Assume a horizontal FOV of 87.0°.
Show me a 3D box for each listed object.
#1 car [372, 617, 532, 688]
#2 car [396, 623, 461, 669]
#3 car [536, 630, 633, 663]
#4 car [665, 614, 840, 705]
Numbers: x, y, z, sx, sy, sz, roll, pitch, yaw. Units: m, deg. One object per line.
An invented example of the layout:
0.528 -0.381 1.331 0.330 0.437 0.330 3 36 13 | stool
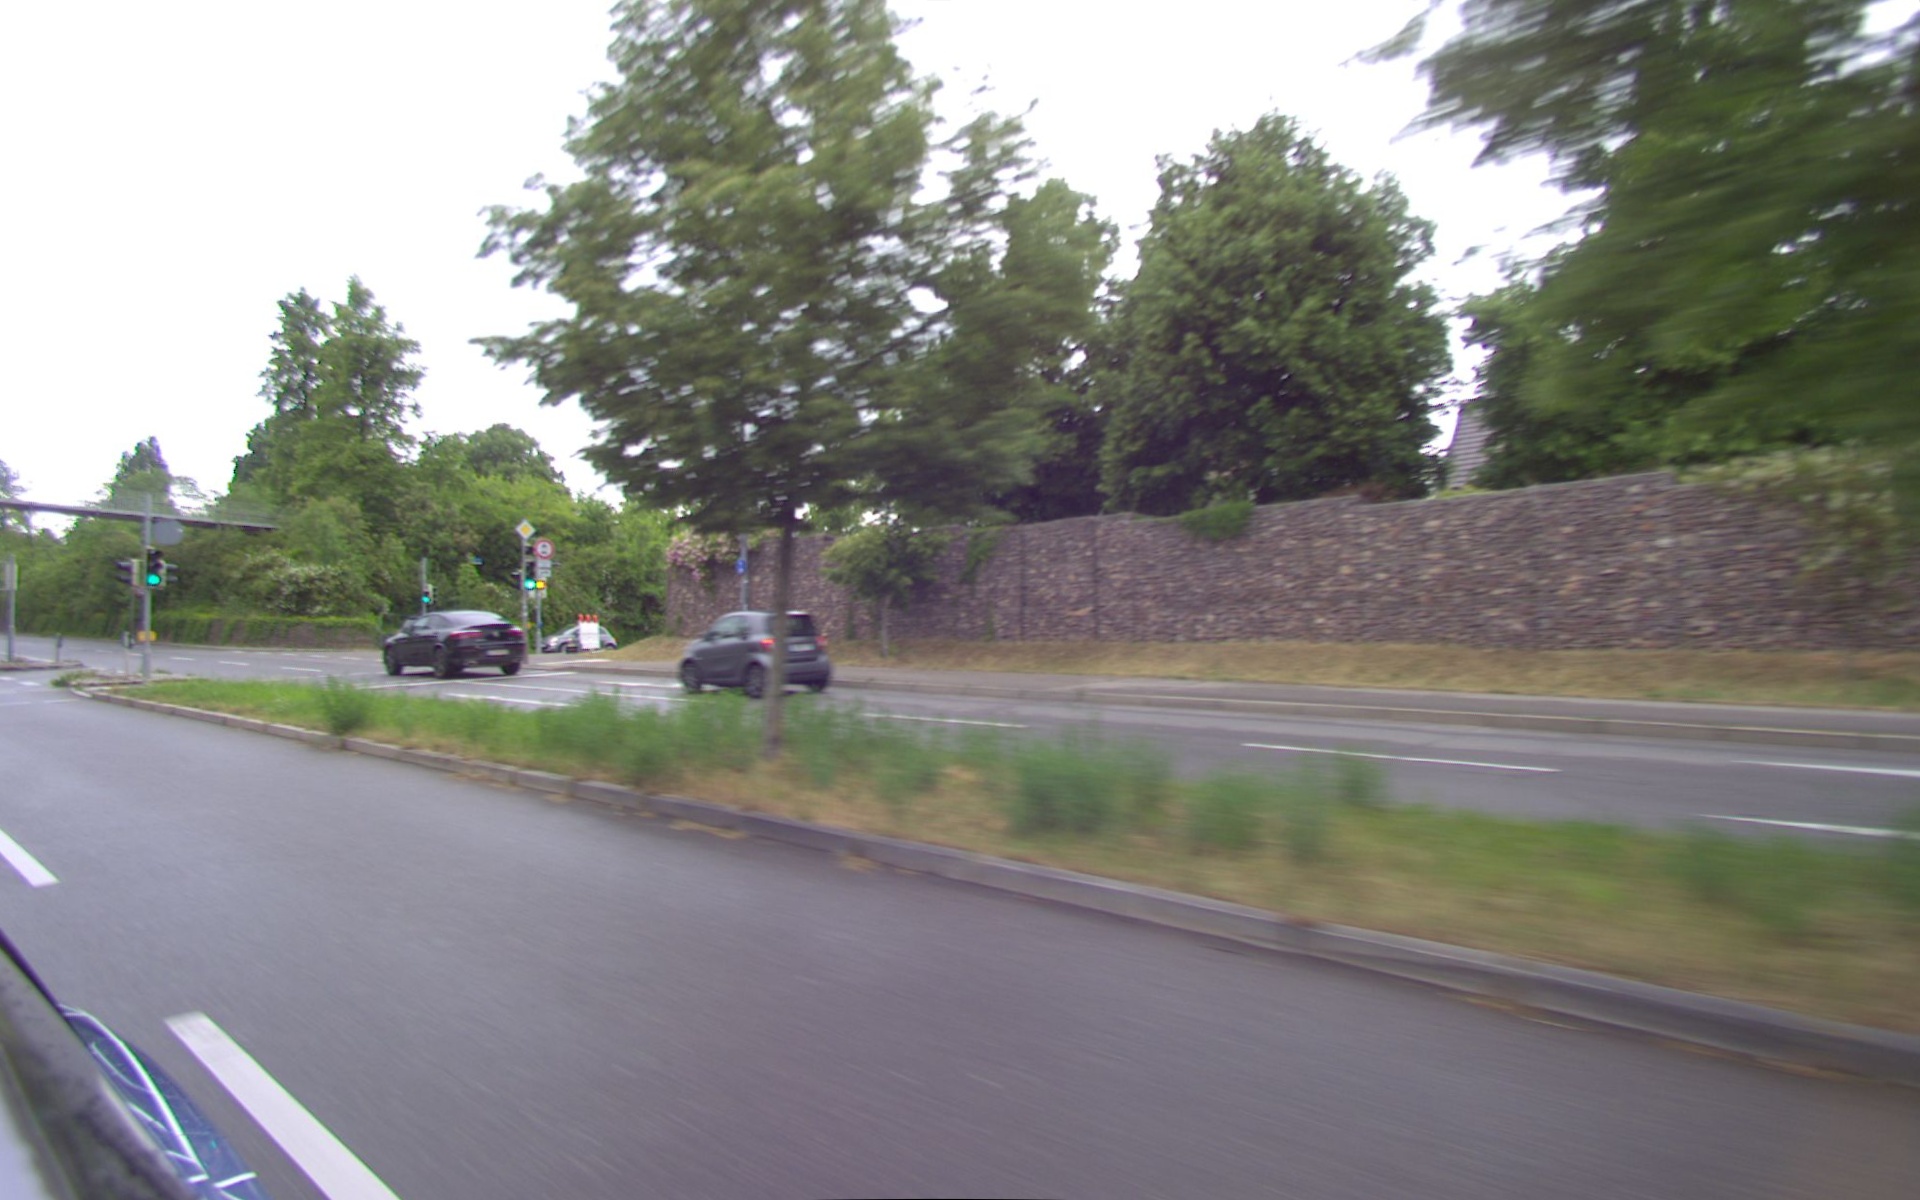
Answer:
-12.793 1.253 25.348 4.763 1.607 1.862 -1 -1 40 | car
-18.365 1.555 35.093 1.575 1.501 4.013 0 -2 -22 | car
-17.575 2.211 47.511 1.692 1.484 3.941 -5 -6 44 | car
-3.885 1.088 18.873 2.909 1.551 1.672 -3 -3 35 | car
